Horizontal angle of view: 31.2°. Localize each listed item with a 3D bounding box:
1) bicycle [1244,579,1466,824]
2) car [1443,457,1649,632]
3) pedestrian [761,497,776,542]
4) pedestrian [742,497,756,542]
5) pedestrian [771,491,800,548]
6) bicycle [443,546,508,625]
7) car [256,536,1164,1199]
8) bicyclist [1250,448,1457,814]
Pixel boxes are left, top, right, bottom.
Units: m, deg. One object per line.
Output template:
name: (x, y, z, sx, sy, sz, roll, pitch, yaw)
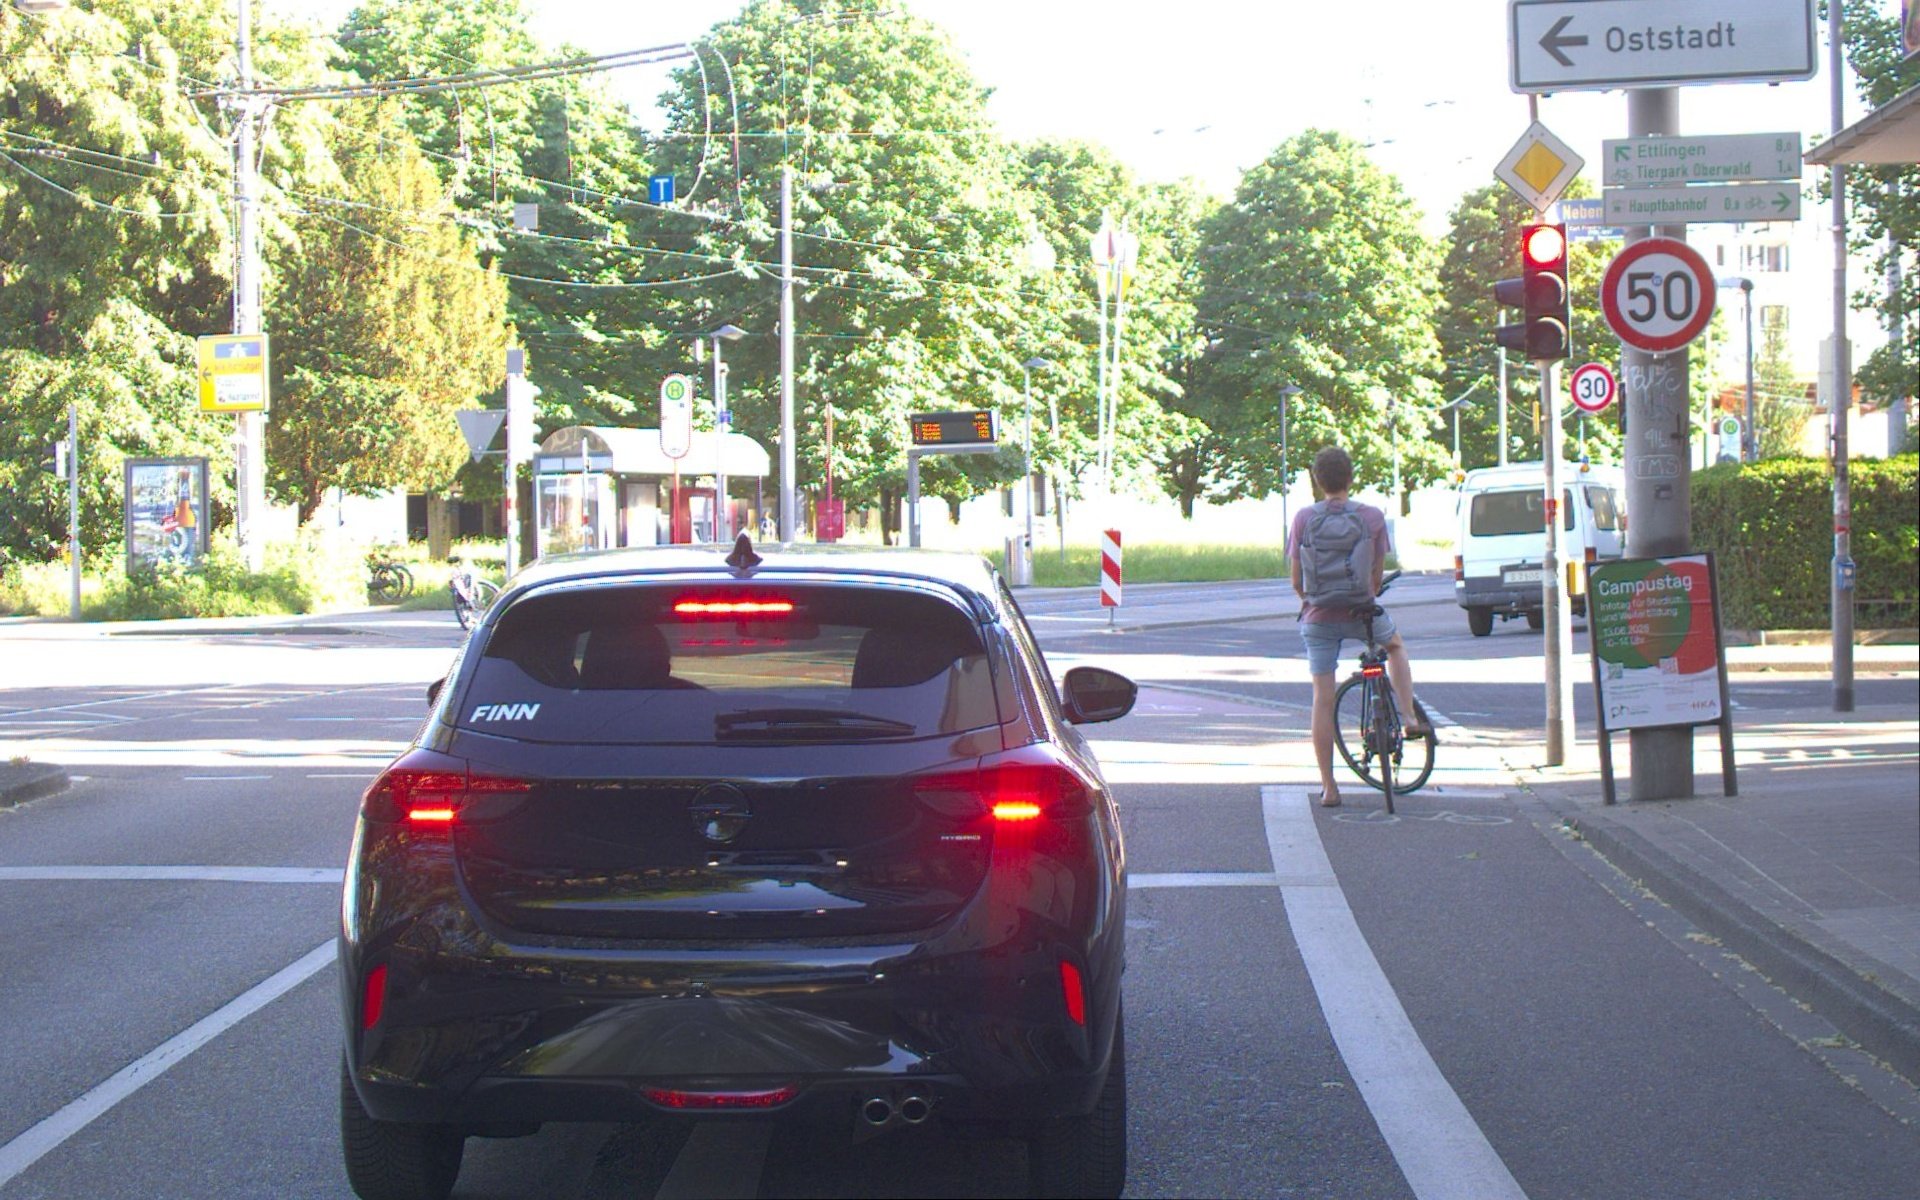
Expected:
bicycle: (2.028, 0.493, 17.948, 0.860, 1.149, 2.172, -1, 1, -1)
car: (7.980, -0.772, 46.469, 2.065, 2.241, 4.883, 0, 1, 18)
pedestrian: (-6.097, -2.552, 109.415, 0.412, 1.408, 0.436, 1, 0, -1)
pedestrian: (-6.754, -2.575, 109.957, 0.412, 1.408, 0.436, 1, 0, -3)
pedestrian: (-6.086, -2.817, 120.104, 0.917, 1.974, 0.992, 1, 1, -6)
bicycle: (-6.546, -0.206, 46.490, 0.605, 1.028, 1.982, 0, 1, -1)
car: (-0.493, 0.564, 8.660, 1.727, 1.424, 4.187, 0, 1, 0)
bicyclist: (2.032, 0.145, 17.876, 0.941, 1.845, 0.864, -1, 1, -1)
